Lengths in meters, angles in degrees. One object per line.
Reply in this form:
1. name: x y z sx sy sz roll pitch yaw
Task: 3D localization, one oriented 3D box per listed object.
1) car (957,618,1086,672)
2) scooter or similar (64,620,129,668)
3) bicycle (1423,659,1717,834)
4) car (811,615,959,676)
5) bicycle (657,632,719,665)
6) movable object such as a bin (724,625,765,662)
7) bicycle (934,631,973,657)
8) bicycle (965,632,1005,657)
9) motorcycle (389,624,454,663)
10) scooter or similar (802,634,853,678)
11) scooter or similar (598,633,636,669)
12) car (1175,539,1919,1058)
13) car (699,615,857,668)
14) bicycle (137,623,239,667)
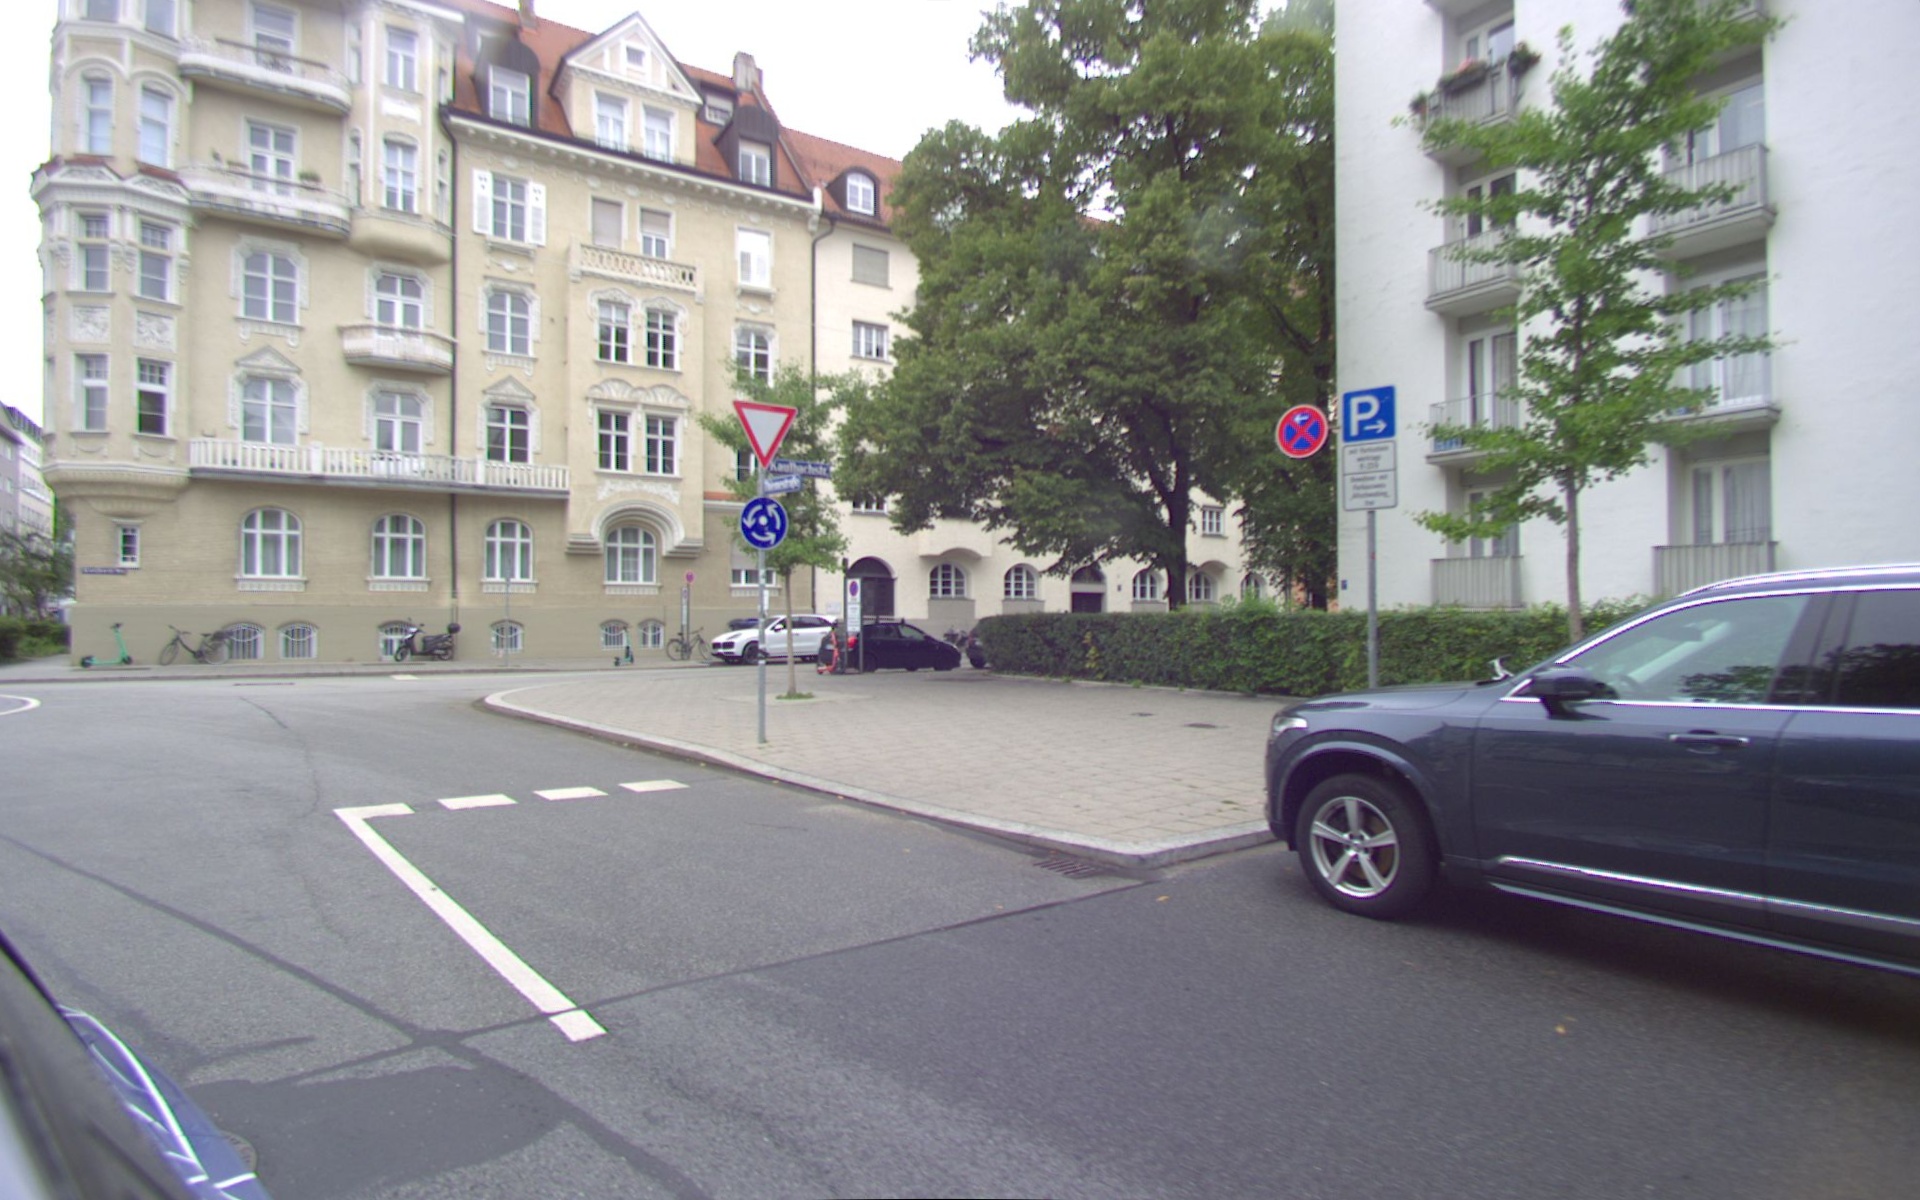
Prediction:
1. car: 1.878 1.345 30.615 3.615 1.540 1.679 1 -4 -34
2. scooter or similar: -23.656 1.201 27.732 0.458 1.281 1.268 -1 -2 39
3. bicycle: 4.508 1.016 7.552 1.783 1.093 0.743 -1 -2 40
4. car: -2.006 1.212 27.249 3.615 1.540 1.679 1 -4 -34
5. bicycle: -9.344 1.662 34.805 1.945 1.077 0.654 1 -2 -42
6. movable object such as a bin: -8.093 1.619 37.957 1.161 1.381 1.151 1 -2 -31
7. bicycle: -0.284 1.891 43.642 1.787 1.077 0.551 1 -2 -42
8. bicycle: 1.080 1.930 44.188 1.787 1.077 0.654 1 -2 -42
9. motorcycle: -17.117 1.367 32.166 1.717 1.195 0.744 1 -2 -37
10. scooter or similar: -3.188 1.330 24.353 1.312 1.032 0.521 -2 -2 45
11. scooter or similar: -10.825 1.602 31.998 0.537 1.117 1.342 0 -2 12
12. car: 3.687 0.687 4.465 2.056 1.732 5.316 1 -2 -37
13. car: -6.164 1.389 34.488 4.907 1.688 2.005 1 -2 -35
14. bicycle: -22.114 1.269 29.035 2.302 1.212 0.700 1 -2 -38
